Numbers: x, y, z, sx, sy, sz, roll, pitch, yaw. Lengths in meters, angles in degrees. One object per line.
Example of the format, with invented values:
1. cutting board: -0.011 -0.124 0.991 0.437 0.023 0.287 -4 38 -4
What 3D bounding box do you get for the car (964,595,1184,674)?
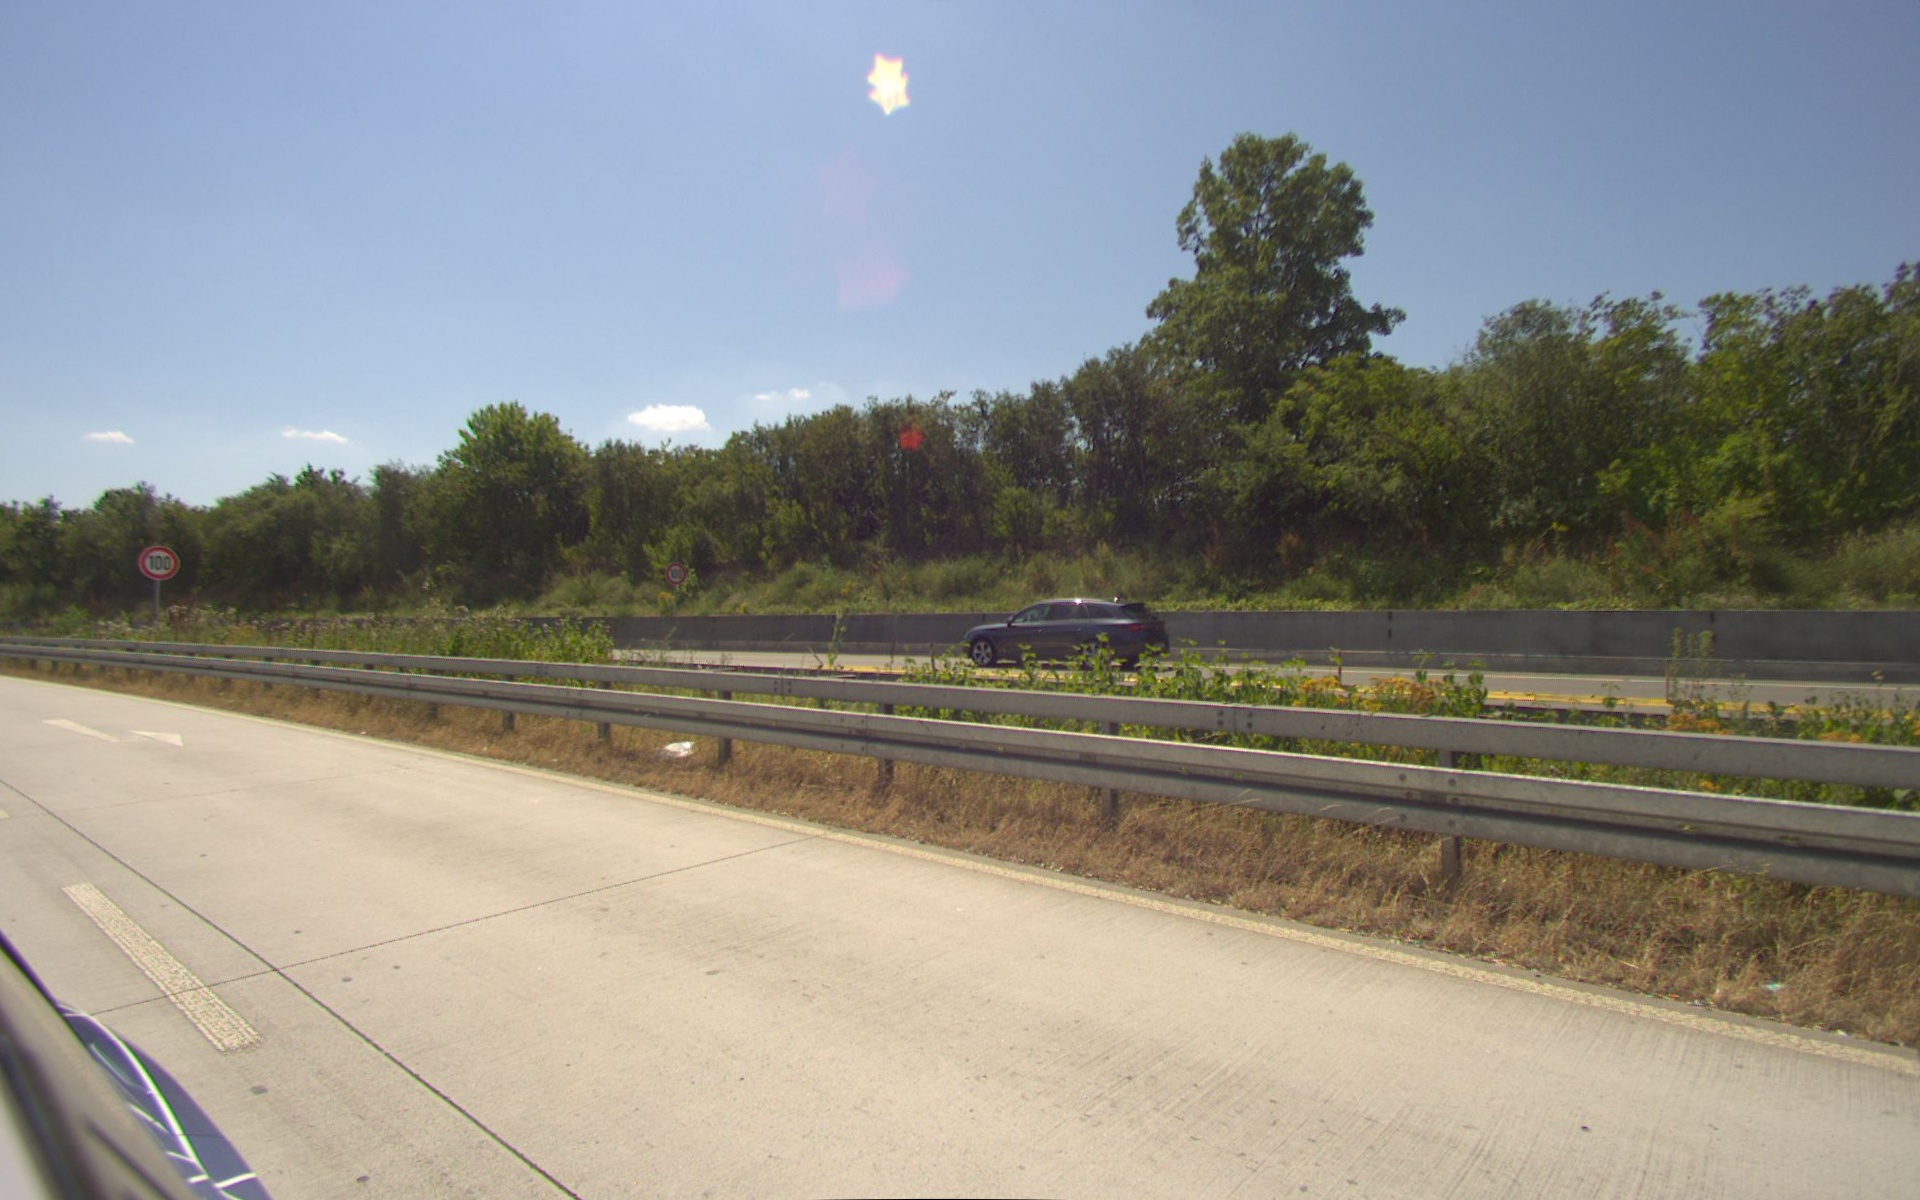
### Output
1. car: 2.310 0.658 21.029 4.284 1.496 1.697 0 0 35
